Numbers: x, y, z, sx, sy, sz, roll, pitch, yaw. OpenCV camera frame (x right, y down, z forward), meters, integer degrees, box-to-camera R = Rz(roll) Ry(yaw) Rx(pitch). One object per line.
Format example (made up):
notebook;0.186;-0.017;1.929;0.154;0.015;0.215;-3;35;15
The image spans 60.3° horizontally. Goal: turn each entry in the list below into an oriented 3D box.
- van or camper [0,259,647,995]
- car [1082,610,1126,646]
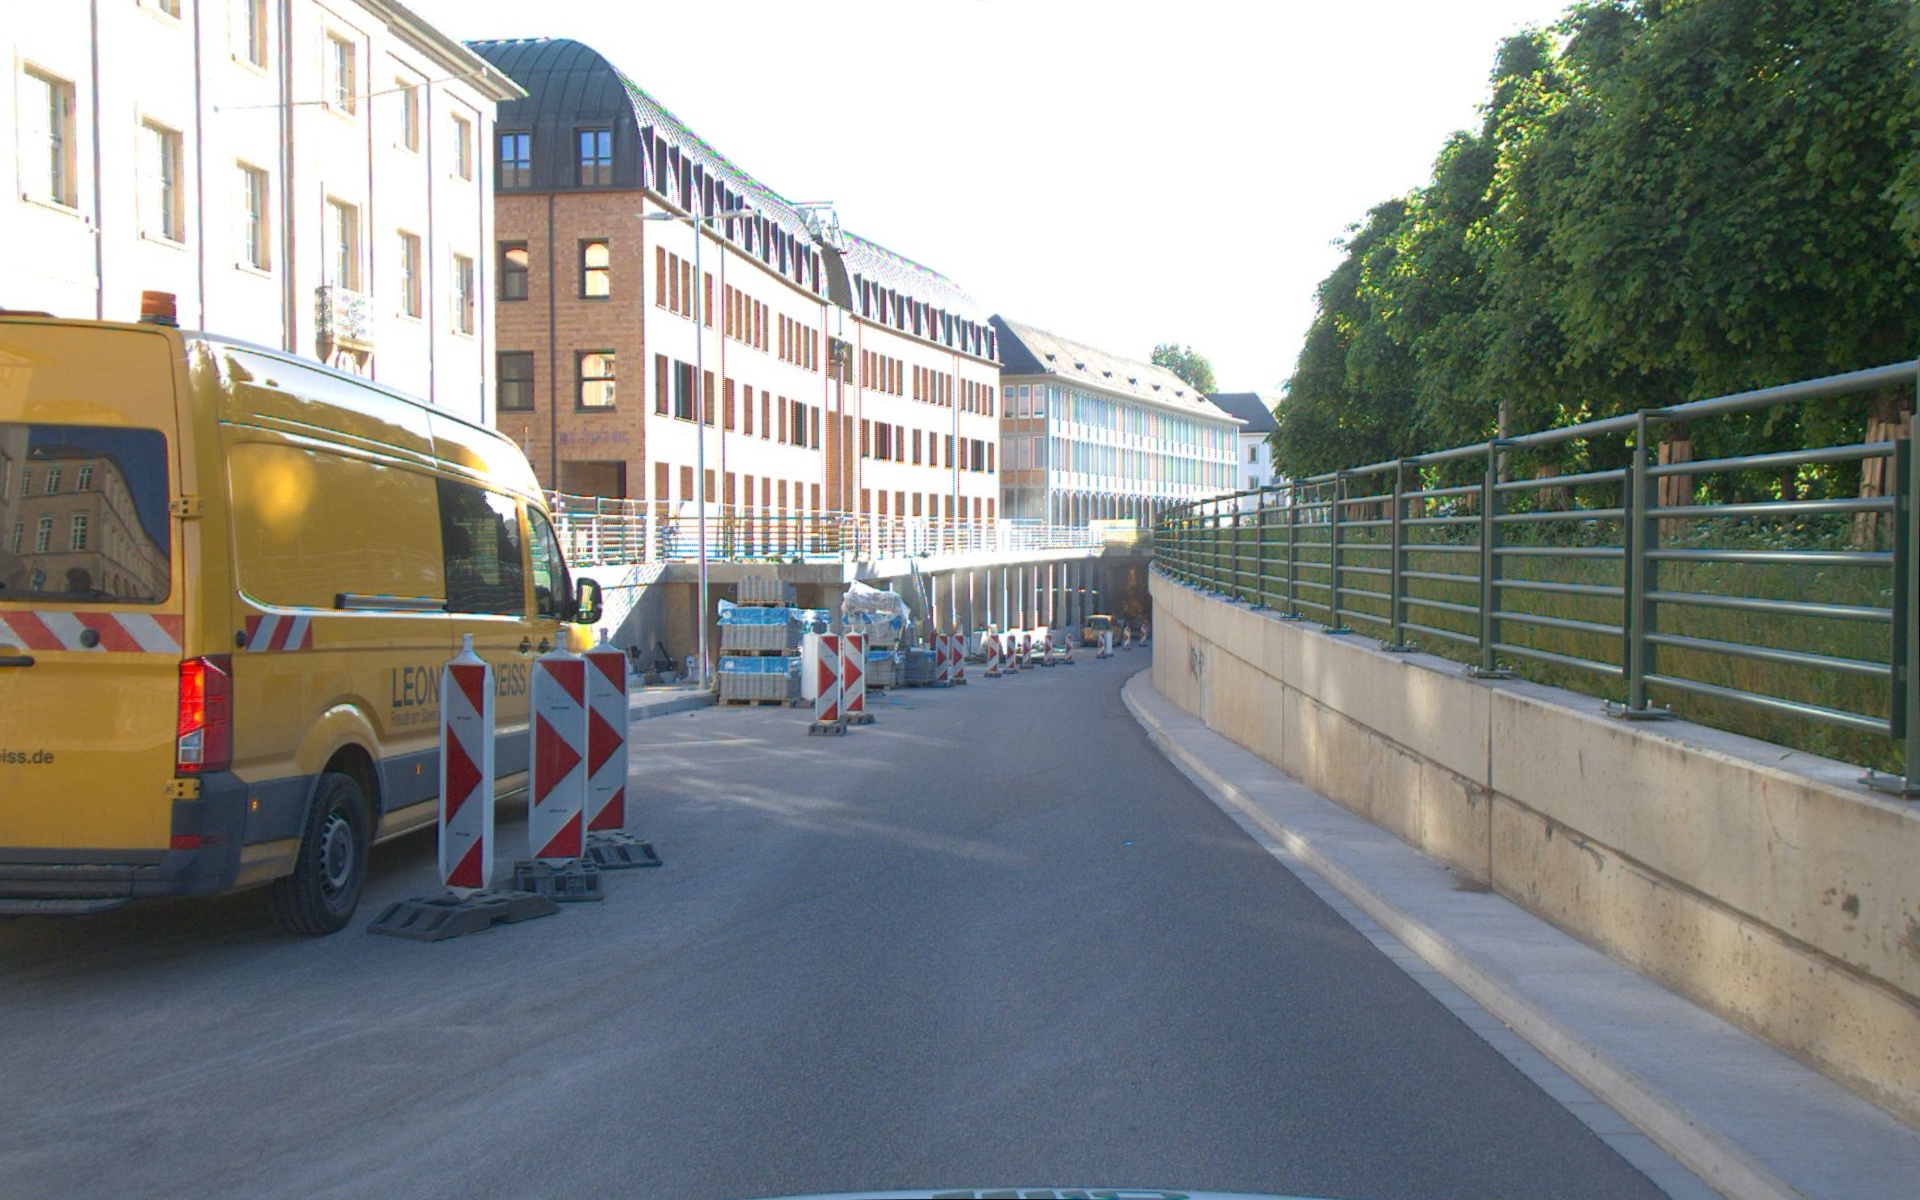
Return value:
van or camper;-3.637;0.094;9.469;2.148;2.658;6.825;2;0;1
car;8.293;1.575;94.907;1.809;1.806;4.438;1;2;15
